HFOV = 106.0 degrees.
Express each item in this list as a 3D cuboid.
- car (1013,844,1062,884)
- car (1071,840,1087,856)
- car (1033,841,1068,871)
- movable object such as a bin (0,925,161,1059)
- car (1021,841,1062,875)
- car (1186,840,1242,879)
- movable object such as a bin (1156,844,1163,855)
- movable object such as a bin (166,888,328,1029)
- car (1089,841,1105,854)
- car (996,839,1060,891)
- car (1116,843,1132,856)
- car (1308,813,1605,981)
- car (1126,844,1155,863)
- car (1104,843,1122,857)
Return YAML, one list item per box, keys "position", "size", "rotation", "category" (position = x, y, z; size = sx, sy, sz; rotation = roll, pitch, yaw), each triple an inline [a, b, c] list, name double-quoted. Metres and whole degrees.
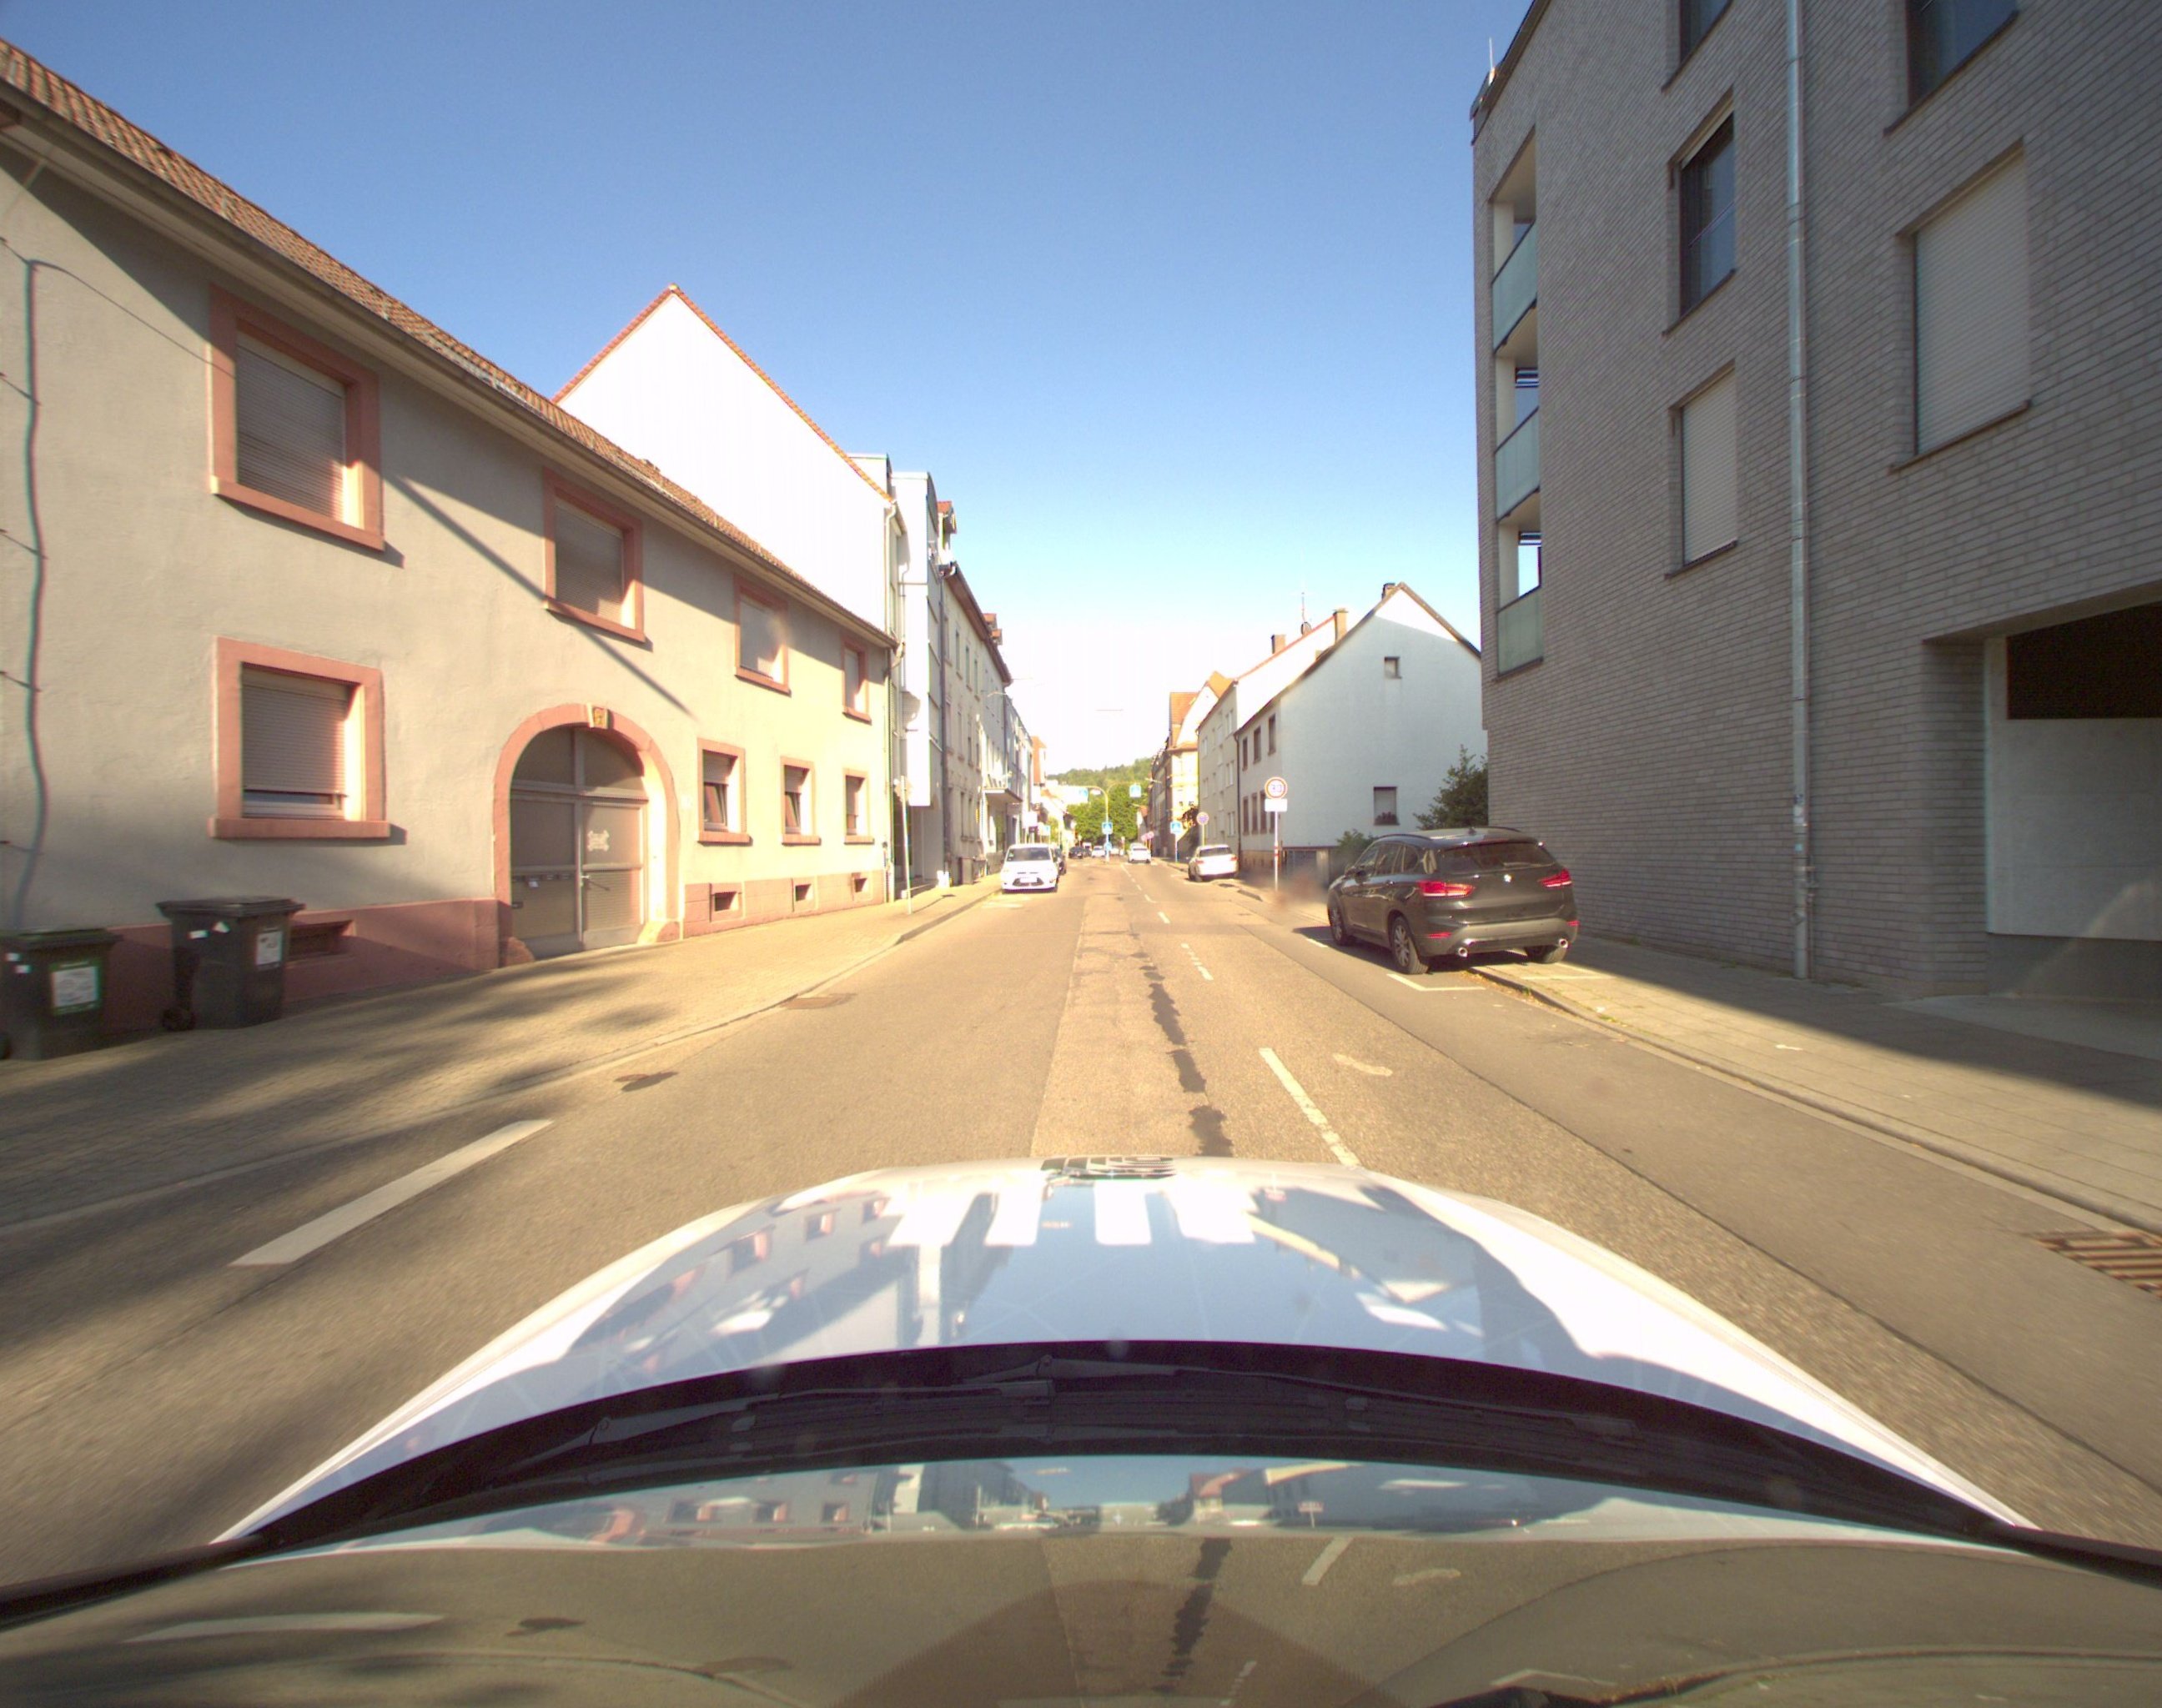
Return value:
- position: [-1.732, 0.363, 33.685]
  size: [1.759, 1.495, 4.125]
  rotation: [-3, 1, 0]
  category: "car"
- position: [-0.244, -0.783, 104.707]
  size: [1.987, 2.013, 3.999]
  rotation: [0, 1, 0]
  category: "car"
- position: [-1.637, 0.110, 44.640]
  size: [1.725, 1.499, 3.959]
  rotation: [-1, 0, 0]
  category: "car"
- position: [-7.385, 0.986, 5.960]
  size: [0.597, 0.872, 0.606]
  rotation: [-1, 0, -1]
  category: "movable object such as a bin"
- position: [-1.828, 0.173, 38.693]
  size: [1.654, 1.526, 3.810]
  rotation: [0, 1, 1]
  category: "car"
- position: [5.489, 0.191, 34.145]
  size: [1.734, 1.492, 4.441]
  rotation: [-2, 1, 2]
  category: "car"
- position: [10.600, -0.579, 109.663]
  size: [0.869, 1.377, 0.684]
  rotation: [-2, 1, -2]
  category: "movable object such as a bin"
- position: [-7.068, 0.861, 6.935]
  size: [0.596, 1.094, 0.751]
  rotation: [0, 0, 1]
  category: "movable object such as a bin"
- position: [2.229, -0.969, 114.337]
  size: [1.803, 1.701, 4.188]
  rotation: [-3, 1, -2]
  category: "car"
- position: [-1.738, 0.305, 28.094]
  size: [1.988, 1.647, 5.219]
  rotation: [0, 1, -2]
  category: "car"
- position: [7.333, -0.784, 138.693]
  size: [1.993, 2.013, 3.987]
  rotation: [-1, 1, -10]
  category: "car"
- position: [4.534, 0.405, 10.758]
  size: [1.848, 1.636, 4.625]
  rotation: [-3, 1, 2]
  category: "car"
- position: [4.871, -0.079, 66.945]
  size: [1.988, 1.466, 3.998]
  rotation: [-1, 0, -1]
  category: "car"
- position: [4.637, -0.577, 119.655]
  size: [1.992, 2.013, 3.990]
  rotation: [-1, 1, -7]
  category: "car"
